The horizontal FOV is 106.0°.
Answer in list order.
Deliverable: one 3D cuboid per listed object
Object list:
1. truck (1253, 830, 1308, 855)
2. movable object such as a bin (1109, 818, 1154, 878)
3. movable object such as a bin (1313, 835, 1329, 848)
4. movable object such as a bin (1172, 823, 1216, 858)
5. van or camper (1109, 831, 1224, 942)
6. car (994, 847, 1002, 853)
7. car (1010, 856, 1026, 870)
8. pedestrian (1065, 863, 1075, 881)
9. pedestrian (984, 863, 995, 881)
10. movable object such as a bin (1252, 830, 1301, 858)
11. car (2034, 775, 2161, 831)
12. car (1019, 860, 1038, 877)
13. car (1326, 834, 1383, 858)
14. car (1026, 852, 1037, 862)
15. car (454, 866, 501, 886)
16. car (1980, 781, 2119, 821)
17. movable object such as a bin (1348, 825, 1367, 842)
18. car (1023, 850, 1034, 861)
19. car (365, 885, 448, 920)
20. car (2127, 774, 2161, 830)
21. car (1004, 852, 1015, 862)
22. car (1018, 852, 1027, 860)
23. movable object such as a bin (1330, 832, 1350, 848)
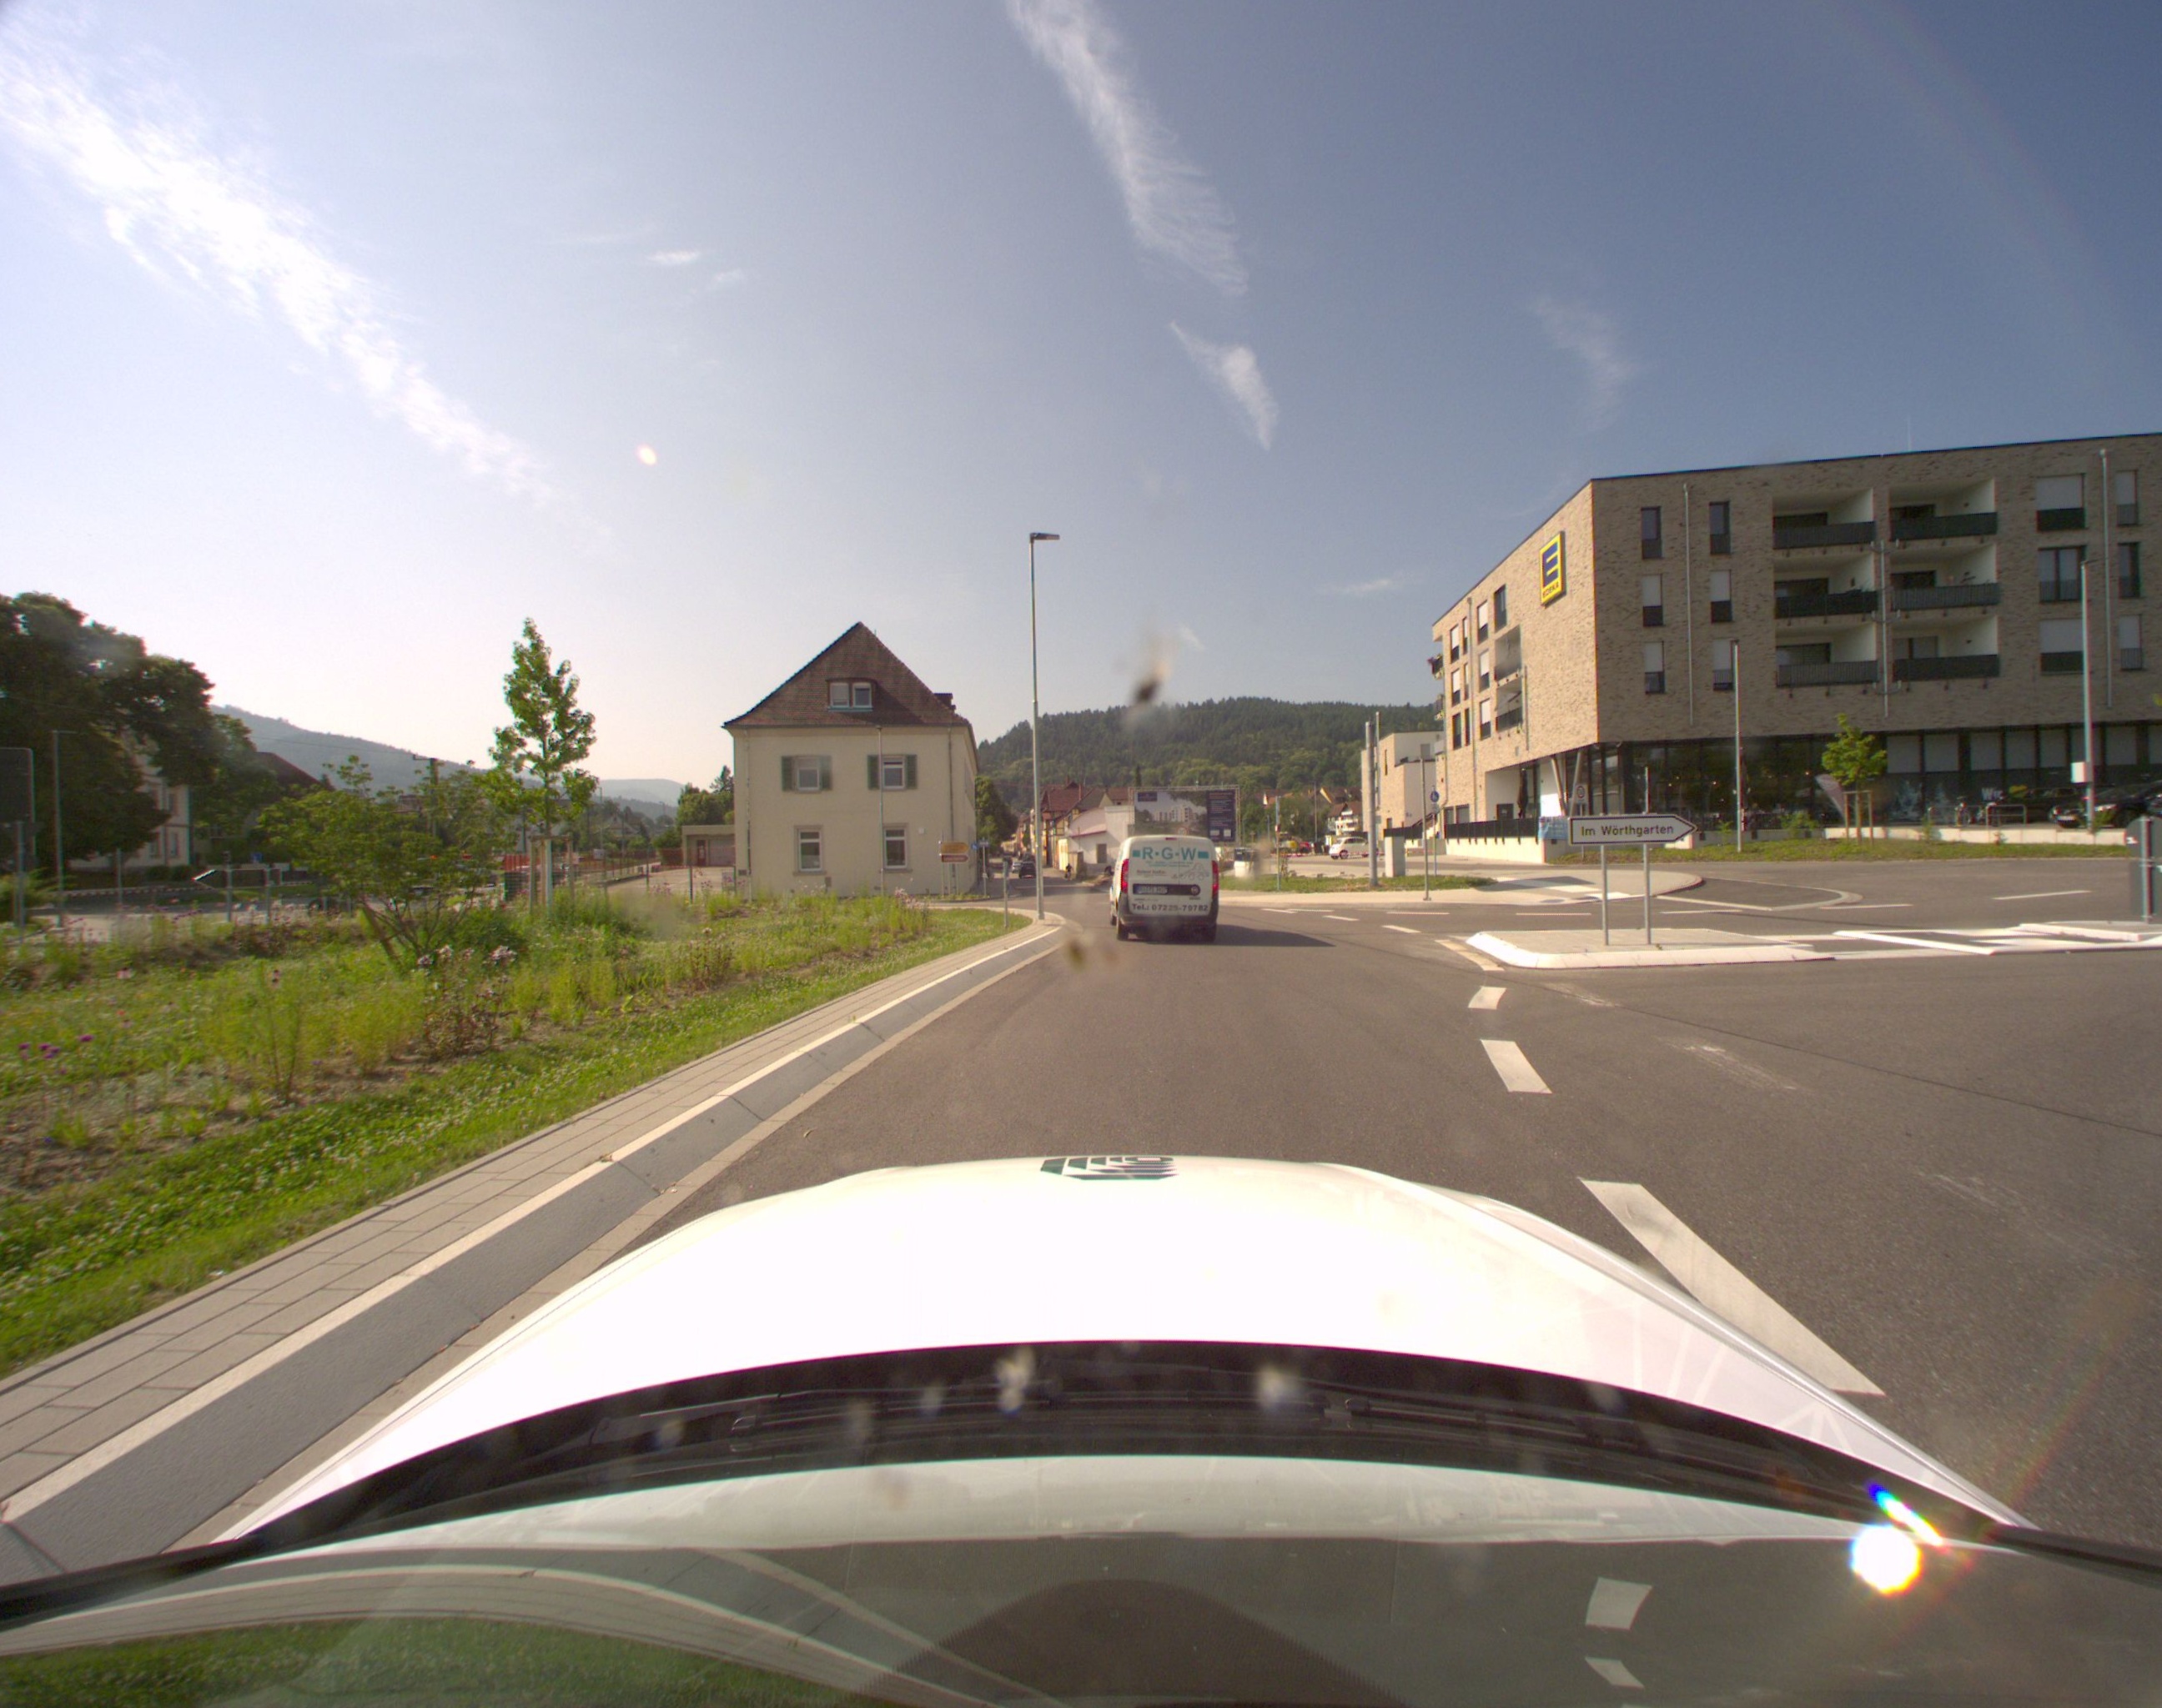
[{"bbox_3d":[21.006,-1.205,85.691,5.271,2.265,2.230,-3,0,19],"label":"truck"},{"bbox_3d":[3.374,-0.361,56.335,2.289,3.854,7.791,1,0,-3],"label":"movable object such as a bin"},{"bbox_3d":[24.094,-1.221,81.668,1.290,1.268,1.321,1,1,3],"label":"movable object such as a bin"},{"bbox_3d":[12.121,-1.456,86.944,2.823,3.621,5.771,1,1,28],"label":"movable object such as a bin"},{"bbox_3d":[1.516,0.548,15.832,1.822,1.844,4.188,-1,0,1],"label":"van or camper"},{"bbox_3d":[-21.483,-1.074,211.182,1.809,1.596,3.916,1,1,-8],"label":"car"},{"bbox_3d":[-7.789,1.134,100.470,1.809,1.596,3.918,1,1,-7],"label":"car"},{"bbox_3d":[-1.018,1.662,76.465,0.887,1.683,0.717,0,-1,-7],"label":"pedestrian"},{"bbox_3d":[-8.313,1.602,73.941,0.957,1.631,0.756,-1,-1,-7],"label":"pedestrian"},{"bbox_3d":[19.772,-1.031,82.327,4.574,2.569,1.934,-3,0,19],"label":"movable object such as a bin"},{"bbox_3d":[33.943,-1.676,26.044,4.423,1.555,1.862,-4,2,6],"label":"car"},{"bbox_3d":[-5.531,1.459,84.909,1.809,1.596,3.918,1,1,-7],"label":"car"},{"bbox_3d":[19.273,-0.558,57.443,3.402,1.495,1.590,-3,-1,-8],"label":"car"},{"bbox_3d":[-8.531,0.524,139.921,1.808,1.596,3.918,1,1,-6],"label":"car"},{"bbox_3d":[-48.884,1.753,66.069,1.712,1.397,3.980,1,1,-15],"label":"car"},{"bbox_3d":[37.125,-1.999,31.335,1.480,1.350,3.335,1,1,2],"label":"car"},{"bbox_3d":[25.046,-1.857,73.707,1.293,1.464,1.321,1,1,3],"label":"movable object such as a bin"},{"bbox_3d":[-9.720,0.321,149.974,1.869,2.013,3.990,-1,1,-7],"label":"car"},{"bbox_3d":[-32.874,2.321,39.661,3.950,1.397,1.725,1,1,28],"label":"car"},{"bbox_3d":[33.033,-1.607,22.928,4.423,1.555,1.862,-4,2,6],"label":"car"},{"bbox_3d":[-11.747,0.504,133.447,1.809,1.596,3.918,1,1,-7],"label":"car"},{"bbox_3d":[-11.961,0.331,166.265,1.669,1.508,3.988,-2,1,-8],"label":"car"},{"bbox_3d":[25.205,-1.352,79.189,1.573,1.464,1.321,1,1,3],"label":"movable object such as a bin"}]
